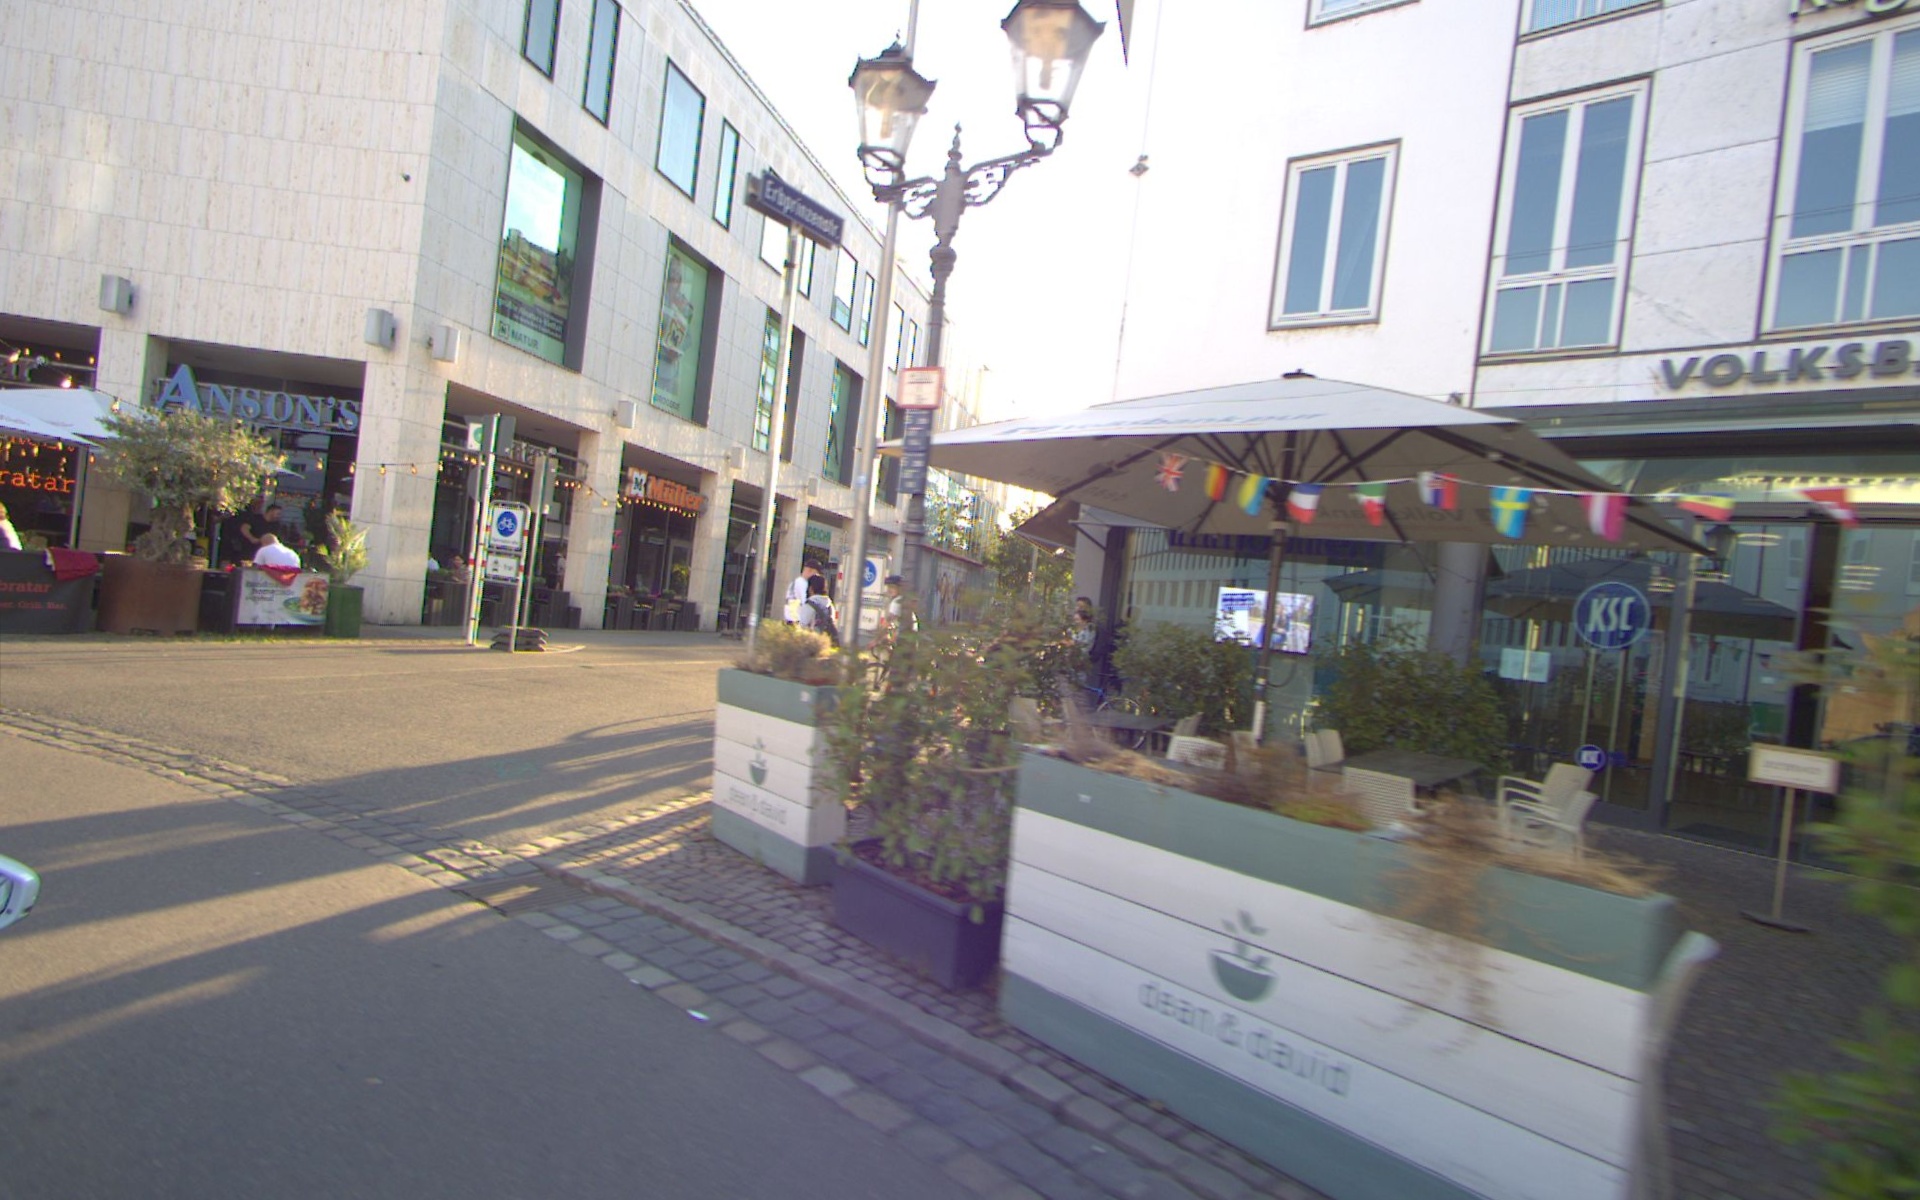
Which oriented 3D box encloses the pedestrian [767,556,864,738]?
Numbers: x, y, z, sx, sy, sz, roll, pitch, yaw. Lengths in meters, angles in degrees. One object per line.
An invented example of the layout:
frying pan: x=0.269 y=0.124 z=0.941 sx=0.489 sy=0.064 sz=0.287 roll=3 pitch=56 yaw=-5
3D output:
pedestrian: x=-1.594 y=0.503 z=11.012 sx=0.777 sy=1.866 sz=0.669 roll=7 pitch=1 yaw=-14

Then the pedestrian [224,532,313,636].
pedestrian: x=-9.437 y=-0.207 z=13.742 sx=0.710 sy=1.327 sz=0.549 roll=7 pitch=1 yaw=12

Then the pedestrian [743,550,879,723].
pedestrian: x=-1.833 y=0.456 z=12.421 sx=0.995 sy=1.954 sz=1.024 roll=7 pitch=-1 yaw=39

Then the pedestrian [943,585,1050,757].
pedestrian: x=0.386 y=0.756 z=11.058 sx=0.803 sy=1.752 sz=0.757 roll=7 pitch=1 yaw=-15

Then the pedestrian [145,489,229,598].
pedestrian: x=-12.729 y=-0.919 z=16.584 sx=0.679 sy=1.668 sz=0.696 roll=7 pitch=1 yaw=4

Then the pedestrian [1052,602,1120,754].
pedestrian: x=1.511 y=0.916 z=12.015 sx=0.592 sy=1.711 sz=0.501 roll=7 pitch=1 yaw=11

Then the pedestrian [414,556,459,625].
pedestrian: x=-9.202 y=-0.168 z=17.680 sx=0.546 sy=1.125 sz=0.531 roll=6 pitch=1 yaw=-34

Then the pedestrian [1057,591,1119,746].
pedestrian: x=1.630 y=0.862 z=12.804 sx=0.552 sy=1.877 sz=0.460 roll=7 pitch=1 yaw=8

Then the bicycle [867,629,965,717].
bicycle: x=-0.591 y=0.938 z=13.113 sx=1.358 sy=0.955 sz=0.324 roll=7 pitch=1 yaw=43

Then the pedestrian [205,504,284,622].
pedestrian: x=-11.584 y=-0.588 z=16.310 sx=0.711 sy=1.815 sz=0.551 roll=7 pitch=1 yaw=-5

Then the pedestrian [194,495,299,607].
pedestrian: x=-11.580 y=-0.779 z=16.364 sx=0.851 sy=1.668 sz=0.931 roll=7 pitch=1 yaw=5

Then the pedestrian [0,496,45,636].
pedestrian: x=-10.540 y=-0.390 z=10.947 sx=0.552 sy=1.497 sz=0.530 roll=7 pitch=1 yaw=13

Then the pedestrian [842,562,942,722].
pedestrian: x=-0.874 y=0.533 z=12.875 sx=0.681 sy=1.920 sz=0.862 roll=6 pitch=1 yaw=-42

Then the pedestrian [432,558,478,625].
pedestrian: x=-9.291 y=-0.155 z=18.512 sx=0.462 sy=1.170 sz=0.498 roll=7 pitch=1 yaw=2
